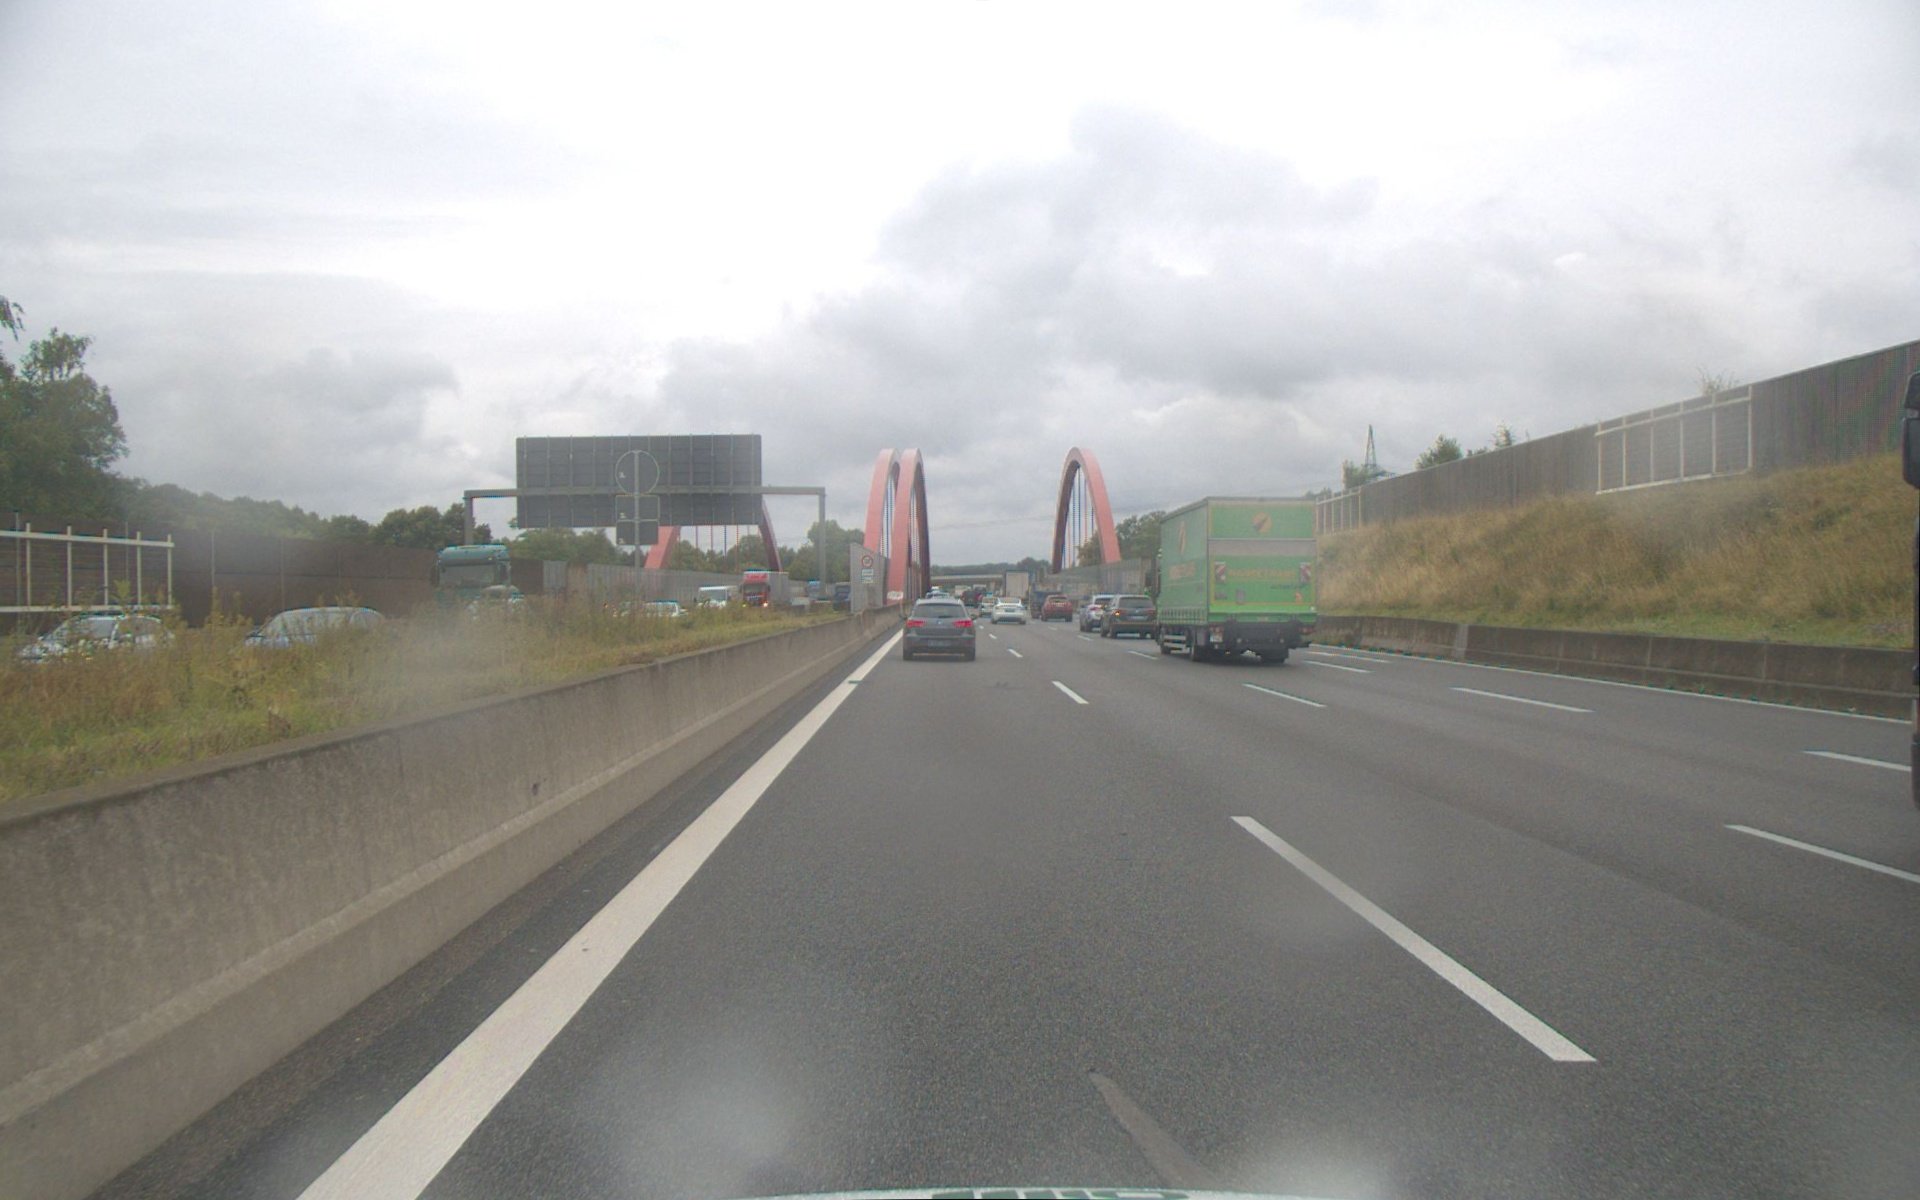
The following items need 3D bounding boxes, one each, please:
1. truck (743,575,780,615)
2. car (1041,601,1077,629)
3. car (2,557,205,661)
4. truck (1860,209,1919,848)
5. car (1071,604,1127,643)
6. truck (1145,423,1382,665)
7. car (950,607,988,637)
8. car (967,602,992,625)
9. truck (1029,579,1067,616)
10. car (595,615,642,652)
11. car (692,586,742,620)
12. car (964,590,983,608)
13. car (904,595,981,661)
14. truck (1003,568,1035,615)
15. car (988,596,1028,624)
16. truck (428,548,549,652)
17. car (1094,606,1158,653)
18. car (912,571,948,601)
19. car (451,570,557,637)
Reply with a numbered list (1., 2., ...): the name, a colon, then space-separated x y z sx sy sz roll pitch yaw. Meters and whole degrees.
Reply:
1. truck: -19.270 -0.513 160.673 2.923 3.819 5.915 1 0 -1
2. car: 6.193 0.946 103.568 1.917 1.676 3.999 1 0 -1
3. car: -18.158 0.165 35.345 1.953 2.049 4.651 1 0 -1
4. truck: 7.526 -0.447 4.754 2.755 4.019 12.710 0 0 -1
5. car: 6.187 1.030 74.118 1.953 1.647 5.326 1 0 -1
6. truck: 7.442 -1.260 42.747 3.916 5.358 11.218 1 0 0
7. car: 0.419 1.057 80.741 1.745 1.431 3.625 1 0 -1
8. car: 1.410 0.977 119.594 1.668 1.570 3.837 0 0 -2
9. truck: 6.253 -0.164 118.180 2.313 2.550 6.143 1 0 0
10. car: -19.605 1.903 94.986 1.953 2.015 3.999 1 0 -2
11. car: -15.300 0.149 104.654 2.169 2.049 7.058 1 0 -1
12. car: 1.449 -0.111 180.465 1.953 1.847 3.999 1 0 -1
13. car: -0.409 0.624 39.435 1.728 1.478 4.000 1 0 0
14. truck: 6.249 -0.914 175.744 2.982 4.817 7.679 1 0 0
15. car: 2.606 0.537 90.464 1.953 1.512 3.999 1 0 -1
16. truck: -18.838 -0.004 66.564 2.804 3.905 7.520 1 0 -1
17. car: 6.314 1.082 63.214 1.873 1.699 4.102 1 0 -3
18. car: -1.669 -0.779 90.757 1.953 1.612 3.999 -1 0 -2
19. car: -14.785 0.108 53.921 1.953 2.049 5.617 1 0 -1
